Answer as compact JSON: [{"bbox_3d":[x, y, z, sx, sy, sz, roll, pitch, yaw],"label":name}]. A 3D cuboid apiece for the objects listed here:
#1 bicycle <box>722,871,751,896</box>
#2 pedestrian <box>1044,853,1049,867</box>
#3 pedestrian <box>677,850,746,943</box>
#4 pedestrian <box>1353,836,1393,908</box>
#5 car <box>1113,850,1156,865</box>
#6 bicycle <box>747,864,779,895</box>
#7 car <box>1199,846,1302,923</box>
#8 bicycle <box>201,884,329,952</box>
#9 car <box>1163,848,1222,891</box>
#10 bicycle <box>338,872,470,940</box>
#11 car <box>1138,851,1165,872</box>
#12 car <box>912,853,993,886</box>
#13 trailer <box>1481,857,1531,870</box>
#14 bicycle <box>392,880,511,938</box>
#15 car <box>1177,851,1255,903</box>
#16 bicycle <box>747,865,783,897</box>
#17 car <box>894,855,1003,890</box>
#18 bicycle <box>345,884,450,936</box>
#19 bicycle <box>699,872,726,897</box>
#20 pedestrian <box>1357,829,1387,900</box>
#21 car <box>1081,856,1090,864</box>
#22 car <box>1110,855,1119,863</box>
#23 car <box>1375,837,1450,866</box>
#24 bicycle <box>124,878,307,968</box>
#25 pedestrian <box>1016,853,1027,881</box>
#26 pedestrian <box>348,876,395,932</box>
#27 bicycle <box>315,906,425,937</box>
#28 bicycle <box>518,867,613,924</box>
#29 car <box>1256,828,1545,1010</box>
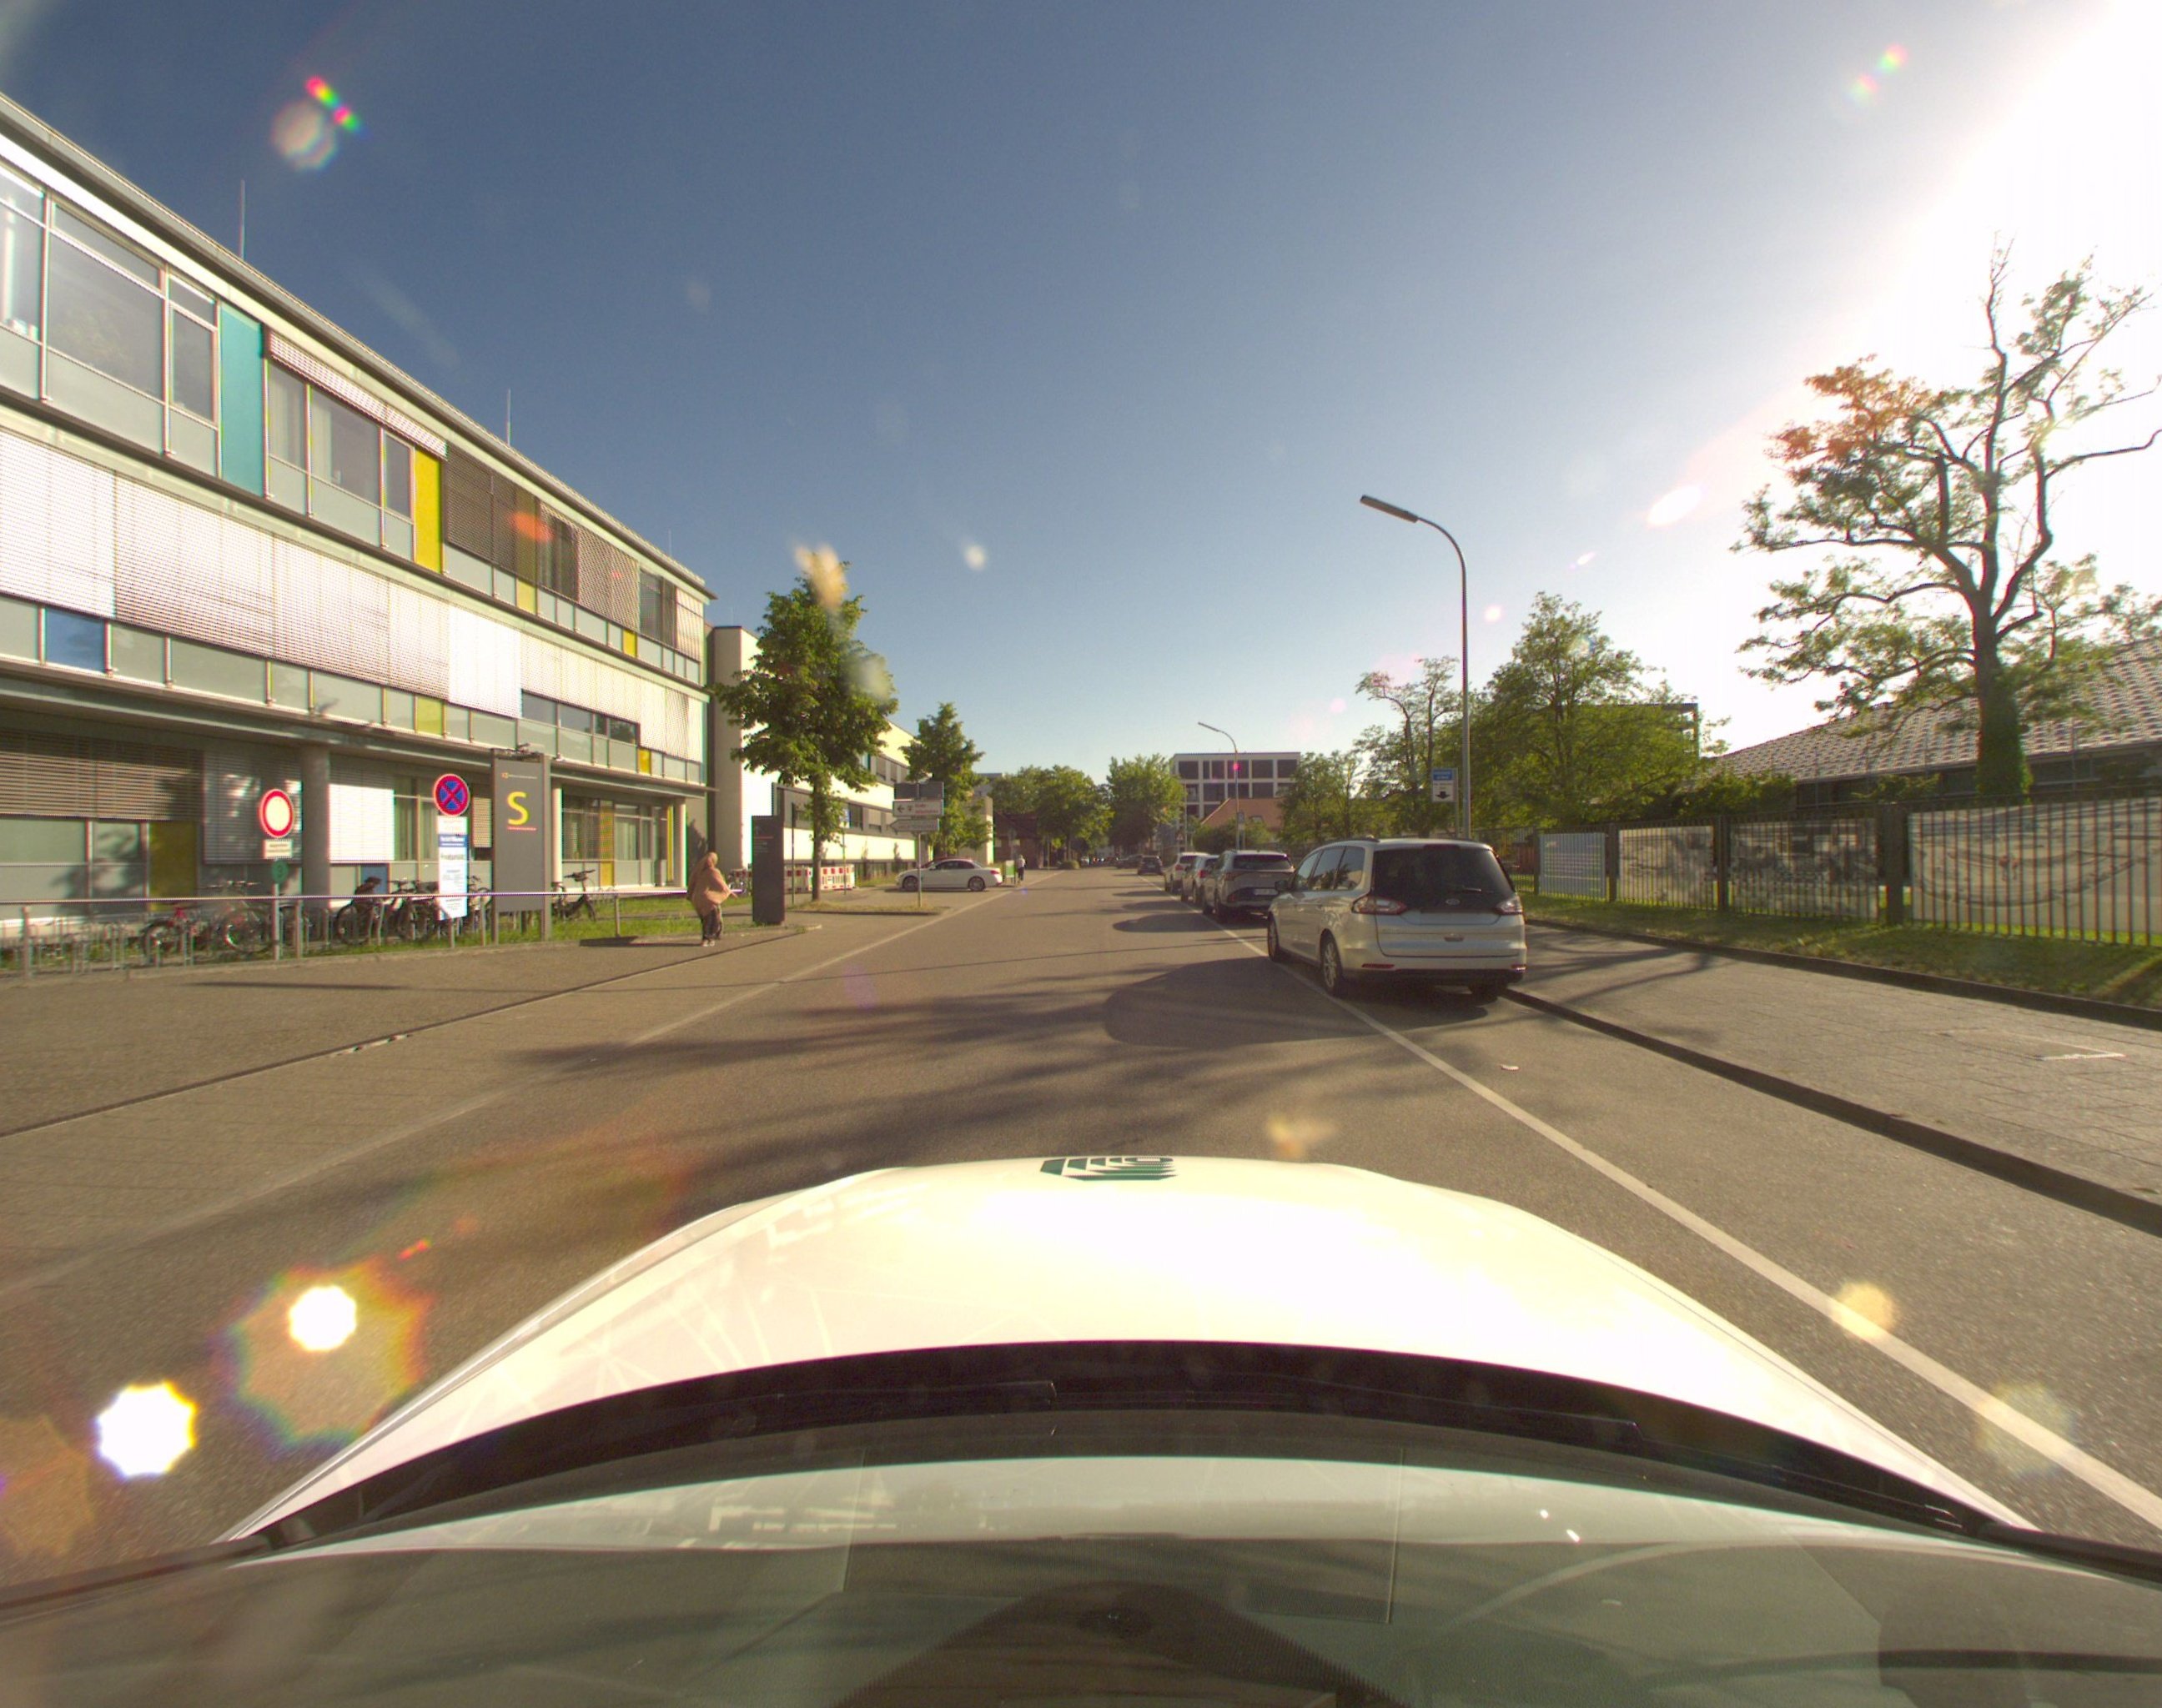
[{"bbox_3d":[-12.644,1.076,29.893,0.367,0.863,1.452,-1,0,3],"label":"bicycle"},{"bbox_3d":[-4.008,0.666,94.065,0.519,1.562,1.096,-1,0,1],"label":"pedestrian"},{"bbox_3d":[-6.340,0.713,14.005,0.770,1.549,0.780,1,-1,2],"label":"pedestrian"},{"bbox_3d":[6.707,0.417,18.723,0.679,1.611,0.540,1,-1,-4],"label":"pedestrian"},{"bbox_3d":[5.487,0.328,83.251,4.564,1.442,1.746,-1,0,-45],"label":"car"},{"bbox_3d":[-12.177,0.950,31.230,0.418,1.123,1.765,-1,0,3],"label":"bicycle"},{"bbox_3d":[3.890,0.627,19.360,1.694,1.606,4.355,1,0,2],"label":"car"},{"bbox_3d":[-14.531,1.126,14.526,1.709,1.123,0.536,-1,0,0],"label":"bicycle"},{"bbox_3d":[4.416,0.574,32.933,1.807,1.588,4.261,1,0,0],"label":"car"},{"bbox_3d":[-11.233,0.846,13.540,1.709,1.055,0.536,-1,0,-1],"label":"bicycle"},{"bbox_3d":[5.192,0.556,60.691,1.810,1.453,4.217,-1,0,3],"label":"car"},{"bbox_3d":[-6.050,0.727,38.613,3.625,1.469,1.613,0,0,-2],"label":"car"},{"bbox_3d":[31.894,0.716,61.242,1.886,0.919,5.123,-1,0,10],"label":"trailer"},{"bbox_3d":[-11.430,0.994,14.808,1.709,0.974,0.536,-1,0,-1],"label":"bicycle"},{"bbox_3d":[4.088,0.646,25.220,1.695,1.487,3.979,1,0,-1],"label":"car"},{"bbox_3d":[-11.624,0.978,30.002,0.532,1.111,1.862,-1,0,2],"label":"bicycle"},{"bbox_3d":[-5.732,0.795,35.632,4.502,1.367,1.698,1,0,-4],"label":"car"},{"bbox_3d":[-14.224,1.155,16.961,1.709,0.994,0.536,-1,0,0],"label":"bicycle"},{"bbox_3d":[-13.582,1.111,30.033,0.254,0.873,1.452,-1,0,3],"label":"bicycle"},{"bbox_3d":[7.112,0.265,19.903,0.519,1.708,0.522,1,-1,-1],"label":"pedestrian"},{"bbox_3d":[0.933,1.228,161.805,1.761,1.487,4.000,-1,0,0],"label":"car"},{"bbox_3d":[6.627,0.965,162.390,1.761,1.548,4.066,-1,0,0],"label":"car"},{"bbox_3d":[26.427,-0.185,65.036,5.255,2.202,2.004,-1,1,7],"label":"car"},{"bbox_3d":[-11.668,0.910,11.020,1.714,1.123,0.535,-1,0,-8],"label":"bicycle"},{"bbox_3d":[-3.378,0.729,46.252,0.536,1.524,0.608,-1,0,3],"label":"pedestrian"},{"bbox_3d":[-15.412,1.082,17.695,0.529,1.173,0.556,-1,0,2],"label":"pedestrian"},{"bbox_3d":[-14.199,1.346,16.279,1.709,0.551,0.536,-1,0,0],"label":"bicycle"},{"bbox_3d":[-10.789,0.863,17.057,1.694,1.121,0.537,-1,0,6],"label":"bicycle"},{"bbox_3d":[3.568,0.614,10.153,1.803,1.722,4.705,1,0,1],"label":"car"}]
